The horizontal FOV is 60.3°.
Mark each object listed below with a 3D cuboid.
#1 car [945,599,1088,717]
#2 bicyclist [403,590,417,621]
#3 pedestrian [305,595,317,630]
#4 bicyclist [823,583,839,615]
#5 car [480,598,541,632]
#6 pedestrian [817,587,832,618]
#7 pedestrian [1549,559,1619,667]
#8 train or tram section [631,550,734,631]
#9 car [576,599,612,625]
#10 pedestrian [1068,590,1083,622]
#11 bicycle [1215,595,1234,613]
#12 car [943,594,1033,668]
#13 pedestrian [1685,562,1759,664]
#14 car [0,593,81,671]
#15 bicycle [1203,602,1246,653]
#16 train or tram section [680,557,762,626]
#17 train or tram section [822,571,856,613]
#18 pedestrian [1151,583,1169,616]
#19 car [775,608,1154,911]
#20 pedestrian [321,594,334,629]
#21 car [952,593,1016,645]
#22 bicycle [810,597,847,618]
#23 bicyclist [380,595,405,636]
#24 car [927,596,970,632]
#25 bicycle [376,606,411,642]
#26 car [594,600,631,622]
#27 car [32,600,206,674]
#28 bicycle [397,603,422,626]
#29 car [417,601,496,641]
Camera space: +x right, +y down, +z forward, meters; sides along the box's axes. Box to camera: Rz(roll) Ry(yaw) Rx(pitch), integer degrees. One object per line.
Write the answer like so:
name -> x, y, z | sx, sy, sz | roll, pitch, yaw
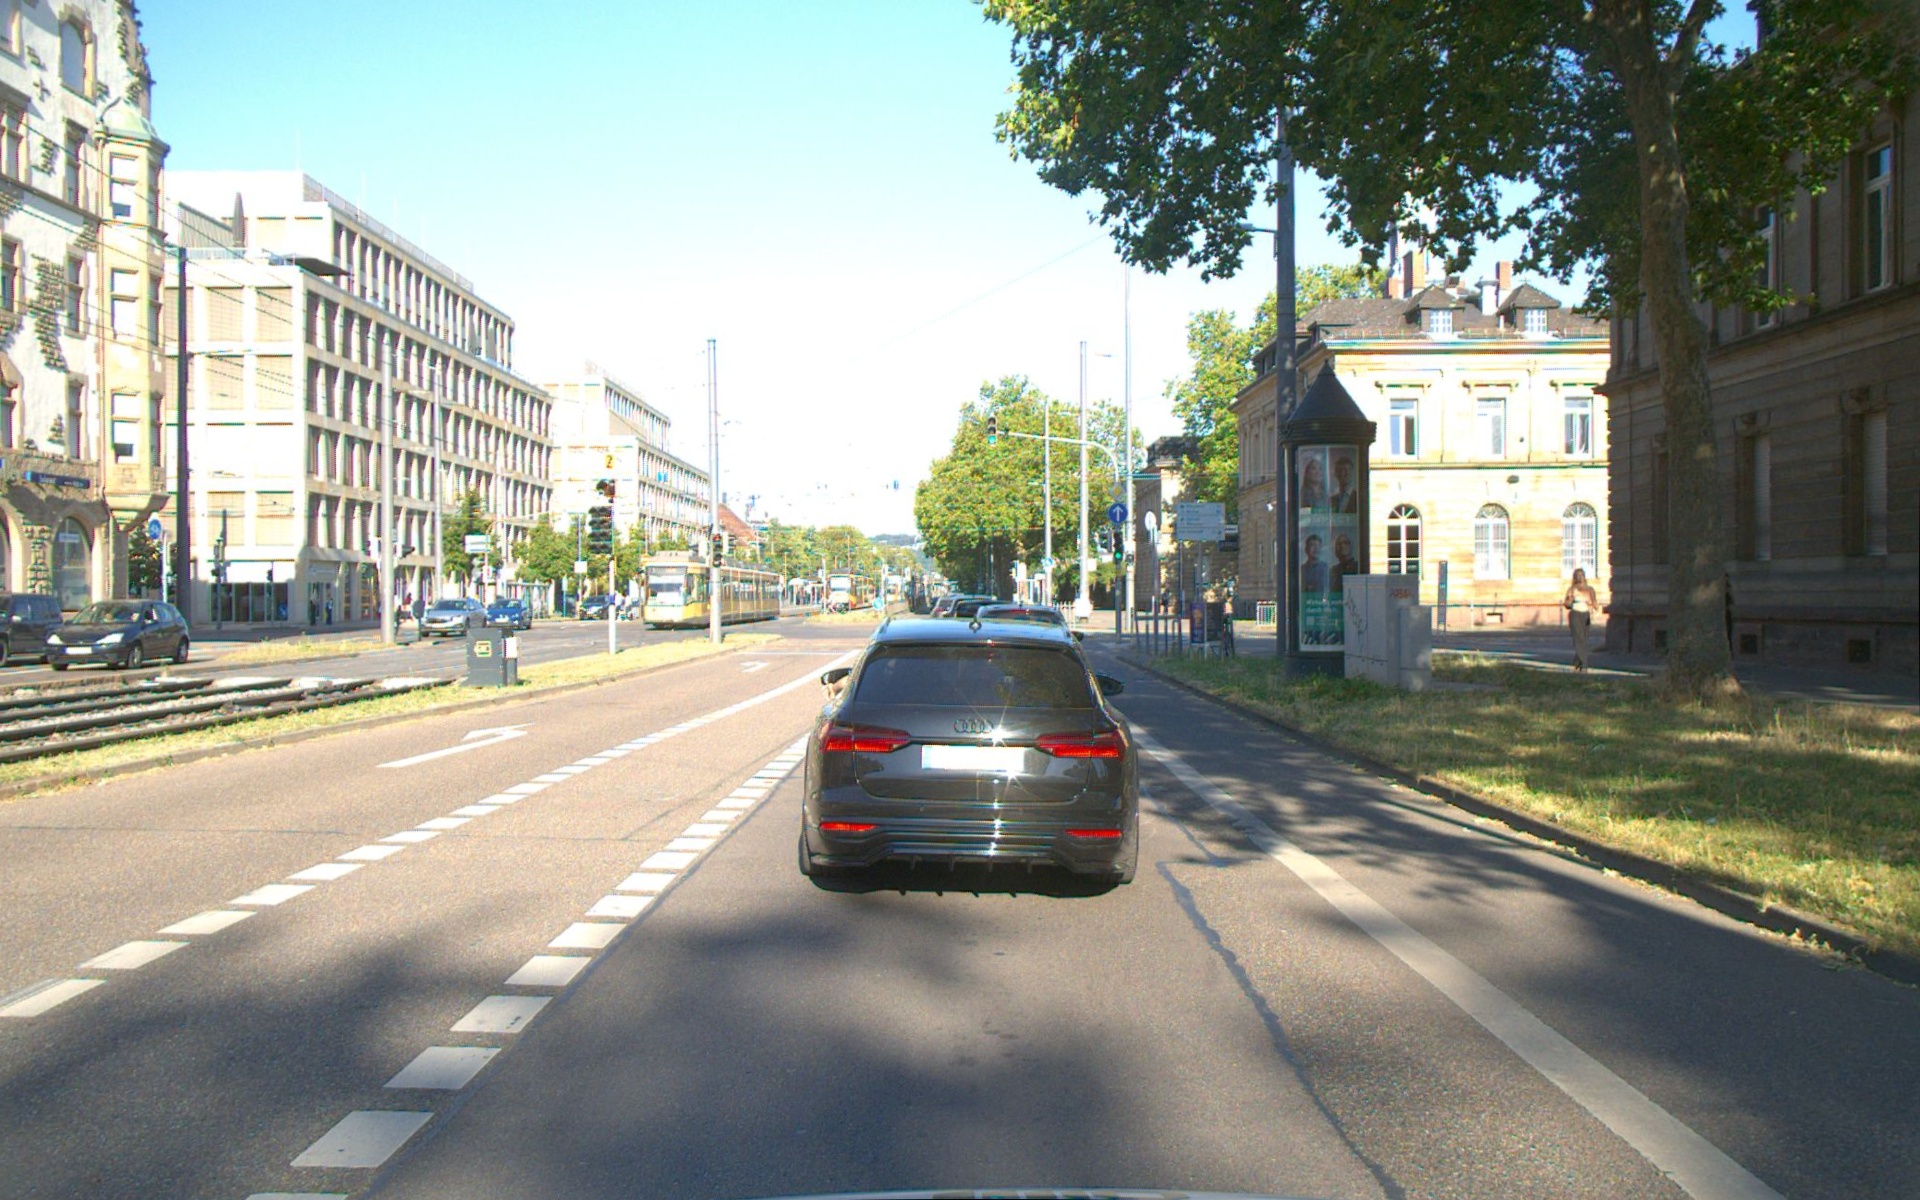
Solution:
car -> 0.740, 0.751, 23.531 | 1.863, 1.512, 4.144 | 0, 0, 0
bicyclist -> -31.380, 0.305, 94.429 | 0.563, 1.715, 0.643 | -1, 0, 1
pedestrian -> -35.066, 0.675, 89.419 | 0.468, 1.876, 0.437 | -1, 0, -38
bicyclist -> -7.389, -0.071, 94.877 | 0.745, 1.850, 0.760 | -1, 0, -19
car -> -20.768, 0.684, 76.510 | 1.783, 1.482, 4.155 | -1, 0, -2
pedestrian -> -7.907, 0.132, 96.389 | 0.728, 1.772, 0.660 | -1, 0, -18
pedestrian -> 10.357, 0.209, 27.485 | 0.753, 1.739, 1.042 | -1, 0, 1
train or tram section -> -13.192, -0.427, 79.876 | 2.755, 3.550, 13.202 | -1, 0, 0
car -> -26.818, 0.866, 121.325 | 1.804, 1.844, 4.112 | -1, 0, -1
pedestrian -> 6.154, 0.295, 88.215 | 0.668, 1.689, 0.758 | -1, 0, -2
bicycle -> 16.570, 0.251, 103.654 | 0.516, 1.065, 2.355 | -1, 0, -8
car -> 0.593, 0.636, 36.395 | 1.863, 1.512, 4.144 | 0, 0, 0
pedestrian -> 12.508, 0.209, 27.176 | 0.753, 1.634, 0.986 | -1, 0, 1
car -> -22.429, 0.714, 38.549 | 1.682, 1.704, 4.215 | 2, 0, -2
bicycle -> 5.729, 0.582, 35.870 | 0.529, 1.080, 1.770 | -1, 0, -4
train or tram section -> -13.272, -0.477, 93.089 | 2.755, 3.550, 13.202 | -1, 0, 0
train or tram section -> -10.741, -0.723, 147.487 | 2.556, 3.511, 11.128 | -1, 0, -2
pedestrian -> 11.483, -0.048, 95.014 | 0.959, 1.898, 0.827 | -1, 0, 1
car -> 0.029, 0.792, 10.205 | 1.863, 1.446, 4.144 | 0, 0, 0
pedestrian -> -34.430, 0.642, 90.056 | 0.527, 1.876, 0.437 | -1, 0, -38
car -> 0.699, 0.556, 50.316 | 1.863, 1.512, 4.144 | 0, 0, 0
bicycle -> -7.537, 0.430, 94.808 | 1.975, 1.127, 0.760 | -1, 0, -19
bicyclist -> -22.747, 0.618, 66.284 | 0.671, 1.590, 0.785 | -1, 0, 1
car -> -0.503, 0.602, 73.419 | 1.863, 1.512, 4.144 | 0, 0, 0
bicycle -> -22.729, 0.941, 66.354 | 0.671, 1.406, 1.947 | -1, 0, 1
car -> -23.634, 0.728, 112.655 | 1.783, 1.482, 4.154 | -1, 0, -3
car -> -18.187, 0.761, 35.984 | 1.783, 1.482, 4.163 | -1, 0, -3
bicycle -> -31.363, 0.818, 94.218 | 0.563, 1.236, 2.389 | -1, 0, 1
car -> -19.582, 0.794, 64.481 | 1.783, 1.482, 4.539 | -1, 0, -2
